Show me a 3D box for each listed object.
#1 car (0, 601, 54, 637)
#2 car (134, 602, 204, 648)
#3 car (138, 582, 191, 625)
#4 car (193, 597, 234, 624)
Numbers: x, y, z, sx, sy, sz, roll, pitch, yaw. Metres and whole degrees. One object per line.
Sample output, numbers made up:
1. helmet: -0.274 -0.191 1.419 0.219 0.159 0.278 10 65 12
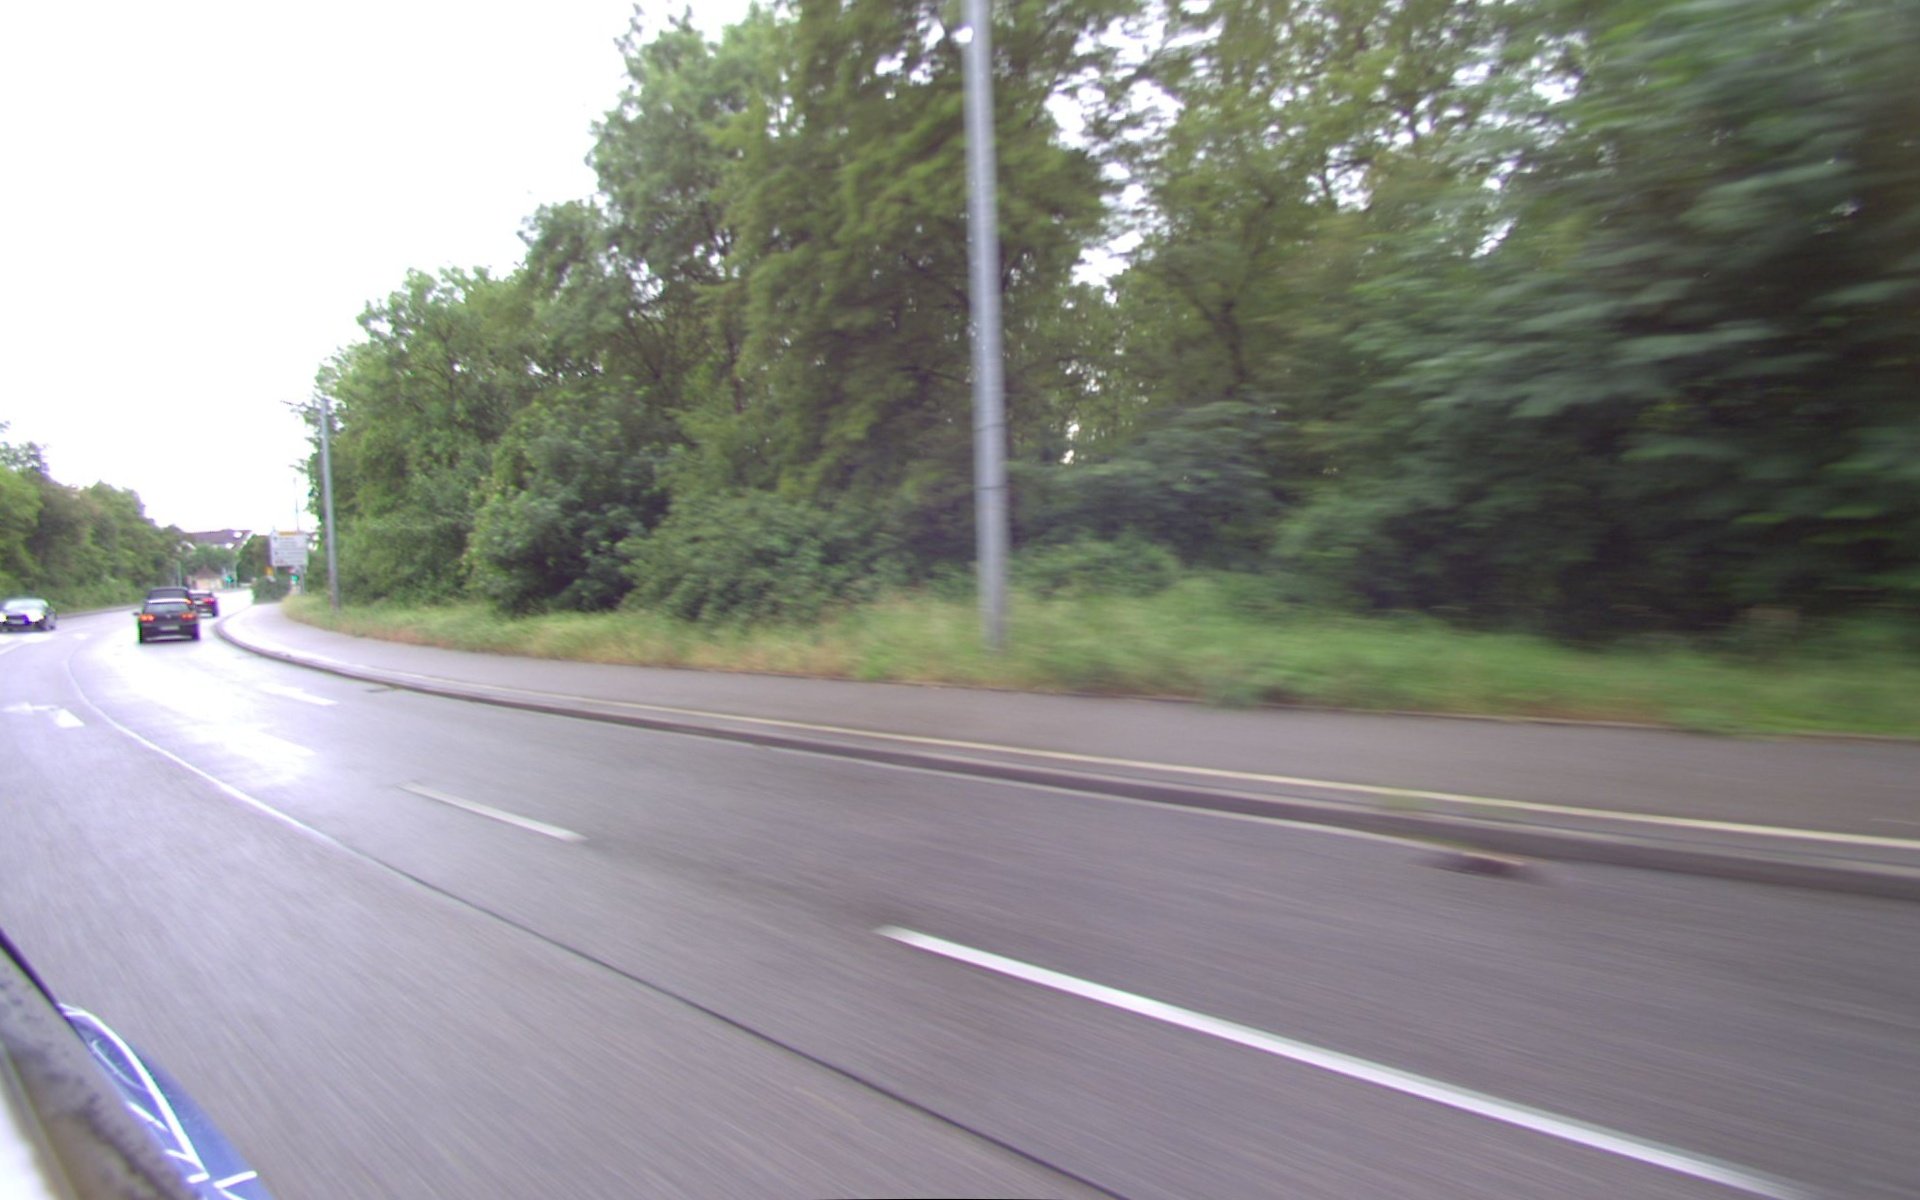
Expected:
1. car: -42.491 0.912 45.935 1.804 1.532 4.007 3 -4 -39
2. car: -28.368 0.915 36.240 1.804 1.451 4.007 -4 1 -40
3. car: -38.016 0.206 48.302 1.804 1.857 4.719 3 -4 -39
4. car: -46.980 0.699 63.638 1.804 1.532 4.007 3 -4 -39
